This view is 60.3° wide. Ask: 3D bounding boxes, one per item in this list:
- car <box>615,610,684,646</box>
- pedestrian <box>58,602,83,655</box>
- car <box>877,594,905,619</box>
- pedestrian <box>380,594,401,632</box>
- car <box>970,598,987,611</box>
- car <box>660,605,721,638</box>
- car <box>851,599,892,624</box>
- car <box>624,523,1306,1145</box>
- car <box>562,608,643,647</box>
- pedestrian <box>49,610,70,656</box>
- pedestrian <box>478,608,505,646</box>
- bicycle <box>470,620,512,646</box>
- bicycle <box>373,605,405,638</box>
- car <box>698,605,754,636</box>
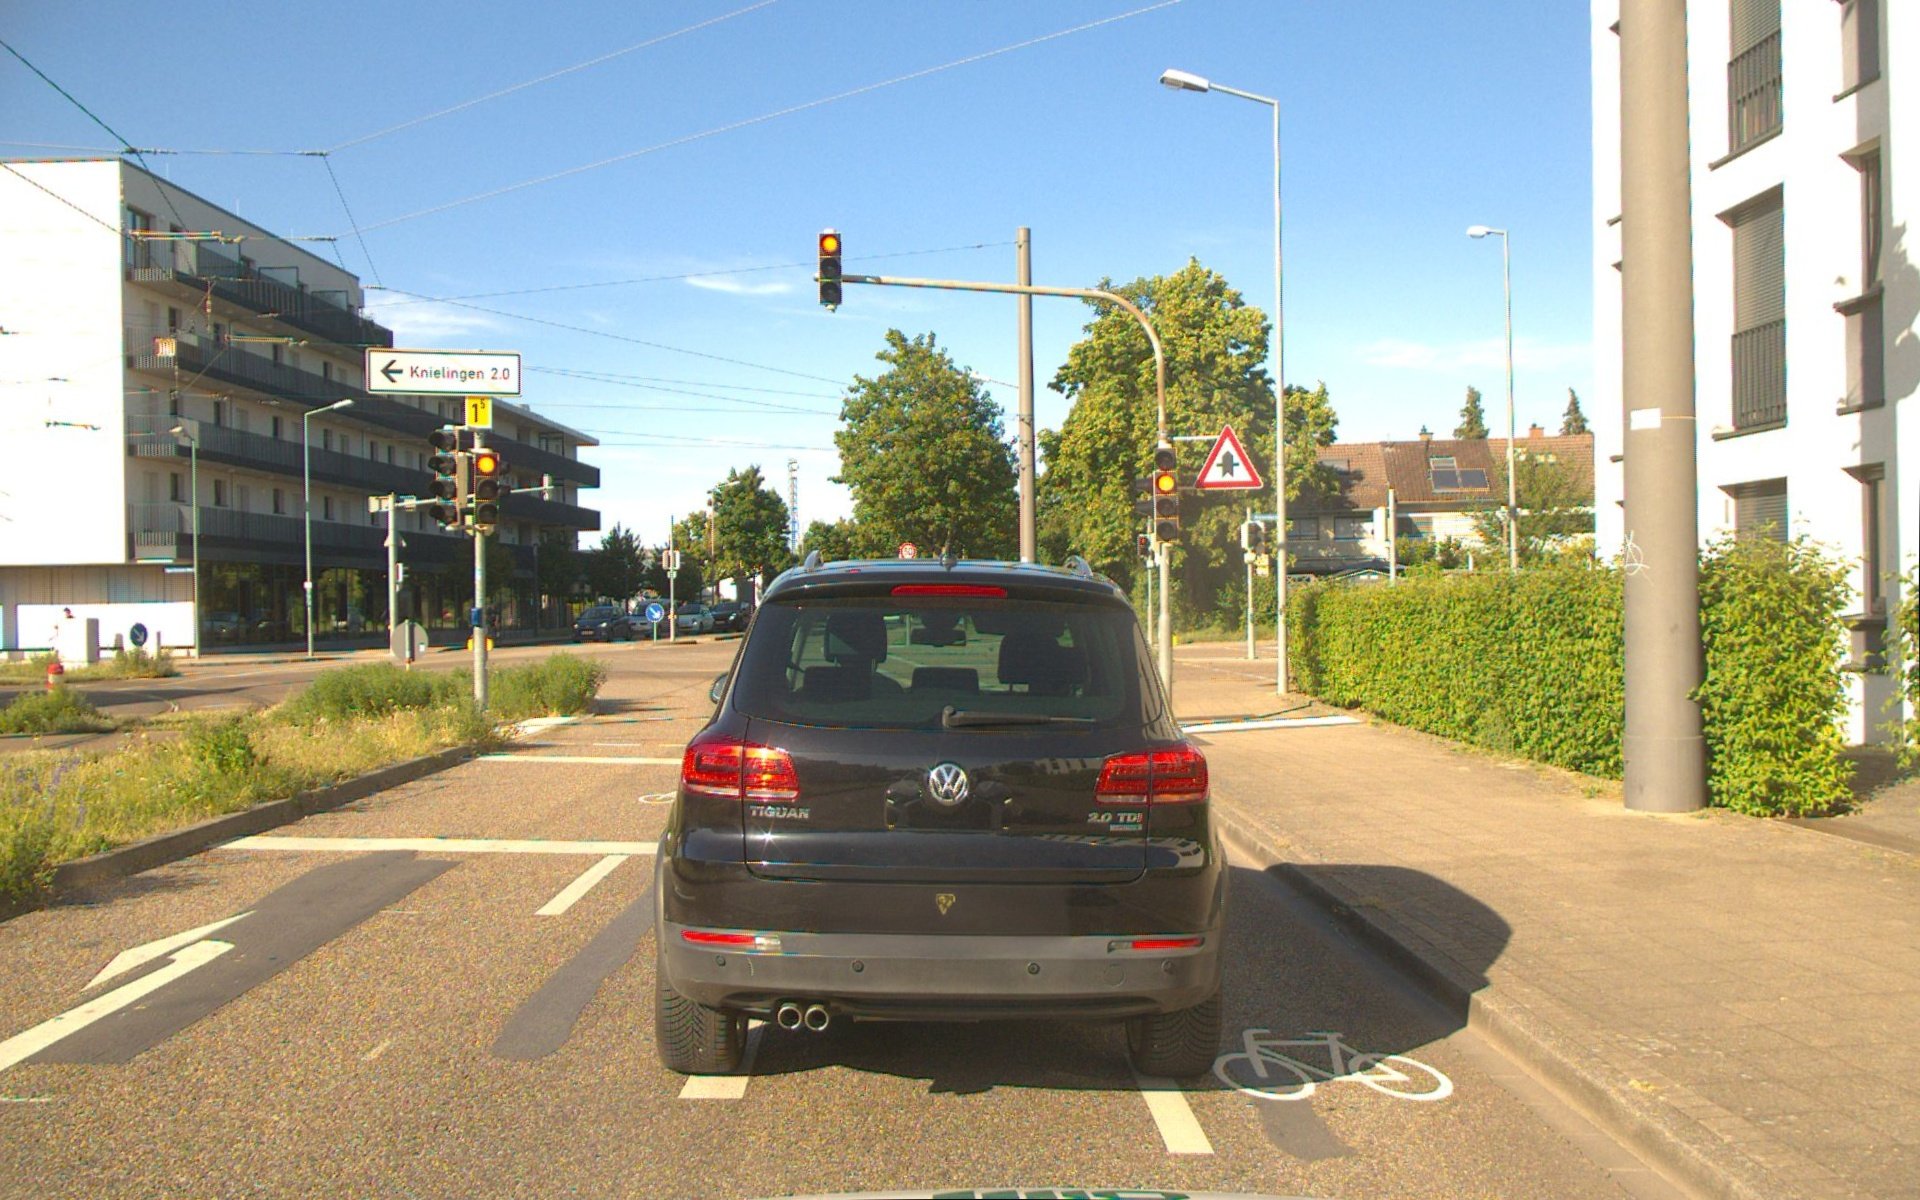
[{"bbox_3d":[-14.576,1.290,77.906,1.951,1.601,4.342,1,0,7],"label":"car"},{"bbox_3d":[-30.113,0.962,55.997,0.532,1.774,0.517,1,-1,-6],"label":"pedestrian"},{"bbox_3d":[-5.000,0.444,120.471,1.825,1.750,3.687,-1,0,1],"label":"car"},{"bbox_3d":[-23.655,0.533,68.653,0.629,1.535,0.596,1,-1,0],"label":"pedestrian"},{"bbox_3d":[2.362,0.576,210.589,1.953,1.713,3.998,1,0,-2],"label":"car"},{"bbox_3d":[-13.789,1.096,84.828,1.951,1.601,4.342,1,0,7],"label":"car"},{"bbox_3d":[-5.427,0.694,101.436,1.824,1.511,4.113,-1,0,7],"label":"car"},{"bbox_3d":[-0.008,0.648,6.502,1.831,1.666,3.999,1,0,-1],"label":"car"},{"bbox_3d":[-15.360,1.146,71.203,1.951,1.601,4.343,1,0,9],"label":"car"},{"bbox_3d":[-30.169,1.099,55.428,0.433,1.529,0.517,1,-1,-6],"label":"pedestrian"},{"bbox_3d":[-18.713,1.077,66.089,0.696,1.499,0.954,1,0,6],"label":"pedestrian"},{"bbox_3d":[-18.711,1.317,66.049,0.755,1.006,2.434,1,0,6],"label":"bicycle"},{"bbox_3d":[-23.675,0.895,68.568,0.617,1.355,1.913,1,0,1],"label":"bicycle"},{"bbox_3d":[-12.818,1.105,90.827,1.951,1.601,4.342,1,0,7],"label":"car"}]
